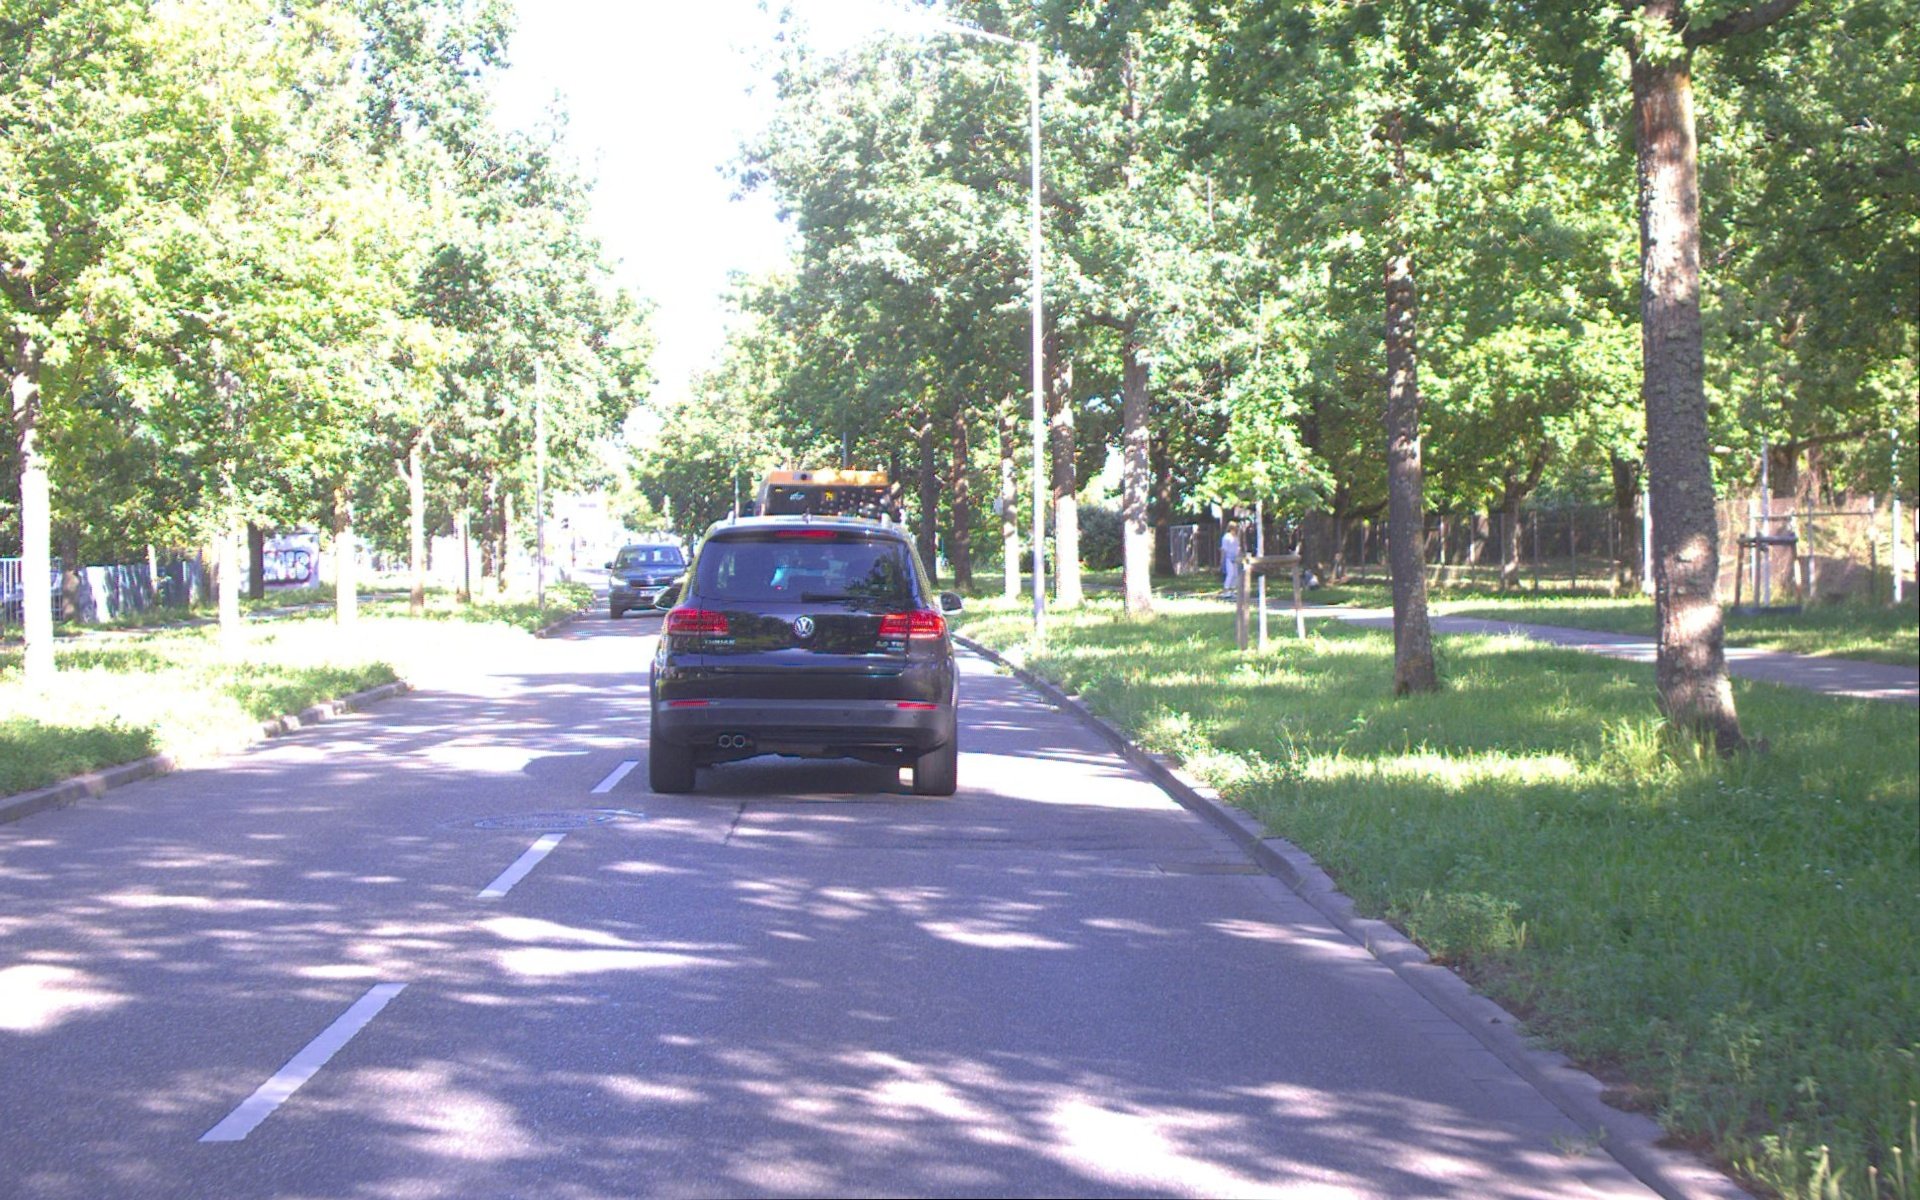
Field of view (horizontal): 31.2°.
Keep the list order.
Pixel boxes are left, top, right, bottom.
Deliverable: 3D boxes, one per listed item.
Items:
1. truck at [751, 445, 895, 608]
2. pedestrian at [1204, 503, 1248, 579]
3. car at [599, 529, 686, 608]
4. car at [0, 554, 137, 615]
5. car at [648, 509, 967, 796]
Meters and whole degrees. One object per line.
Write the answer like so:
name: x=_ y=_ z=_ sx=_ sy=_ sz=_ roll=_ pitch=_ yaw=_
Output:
truck: x=-2.989 y=-1.529 z=72.745 sx=2.511 sy=3.232 sz=8.154 roll=-1 pitch=1 yaw=-6
pedestrian: x=5.846 y=-1.290 z=75.487 sx=0.608 sy=1.625 sz=0.719 roll=-4 pitch=2 yaw=-25
car: x=-7.117 y=-0.720 z=77.419 sx=1.767 sy=1.666 sz=4.200 roll=-2 pitch=1 yaw=-3
car: x=-27.396 y=-0.482 z=105.665 sx=3.986 sy=1.795 sz=2.001 roll=1 pitch=1 yaw=-11
car: x=-1.053 y=0.278 z=21.690 sx=1.782 sy=1.628 sz=4.001 roll=1 pitch=1 yaw=-6
